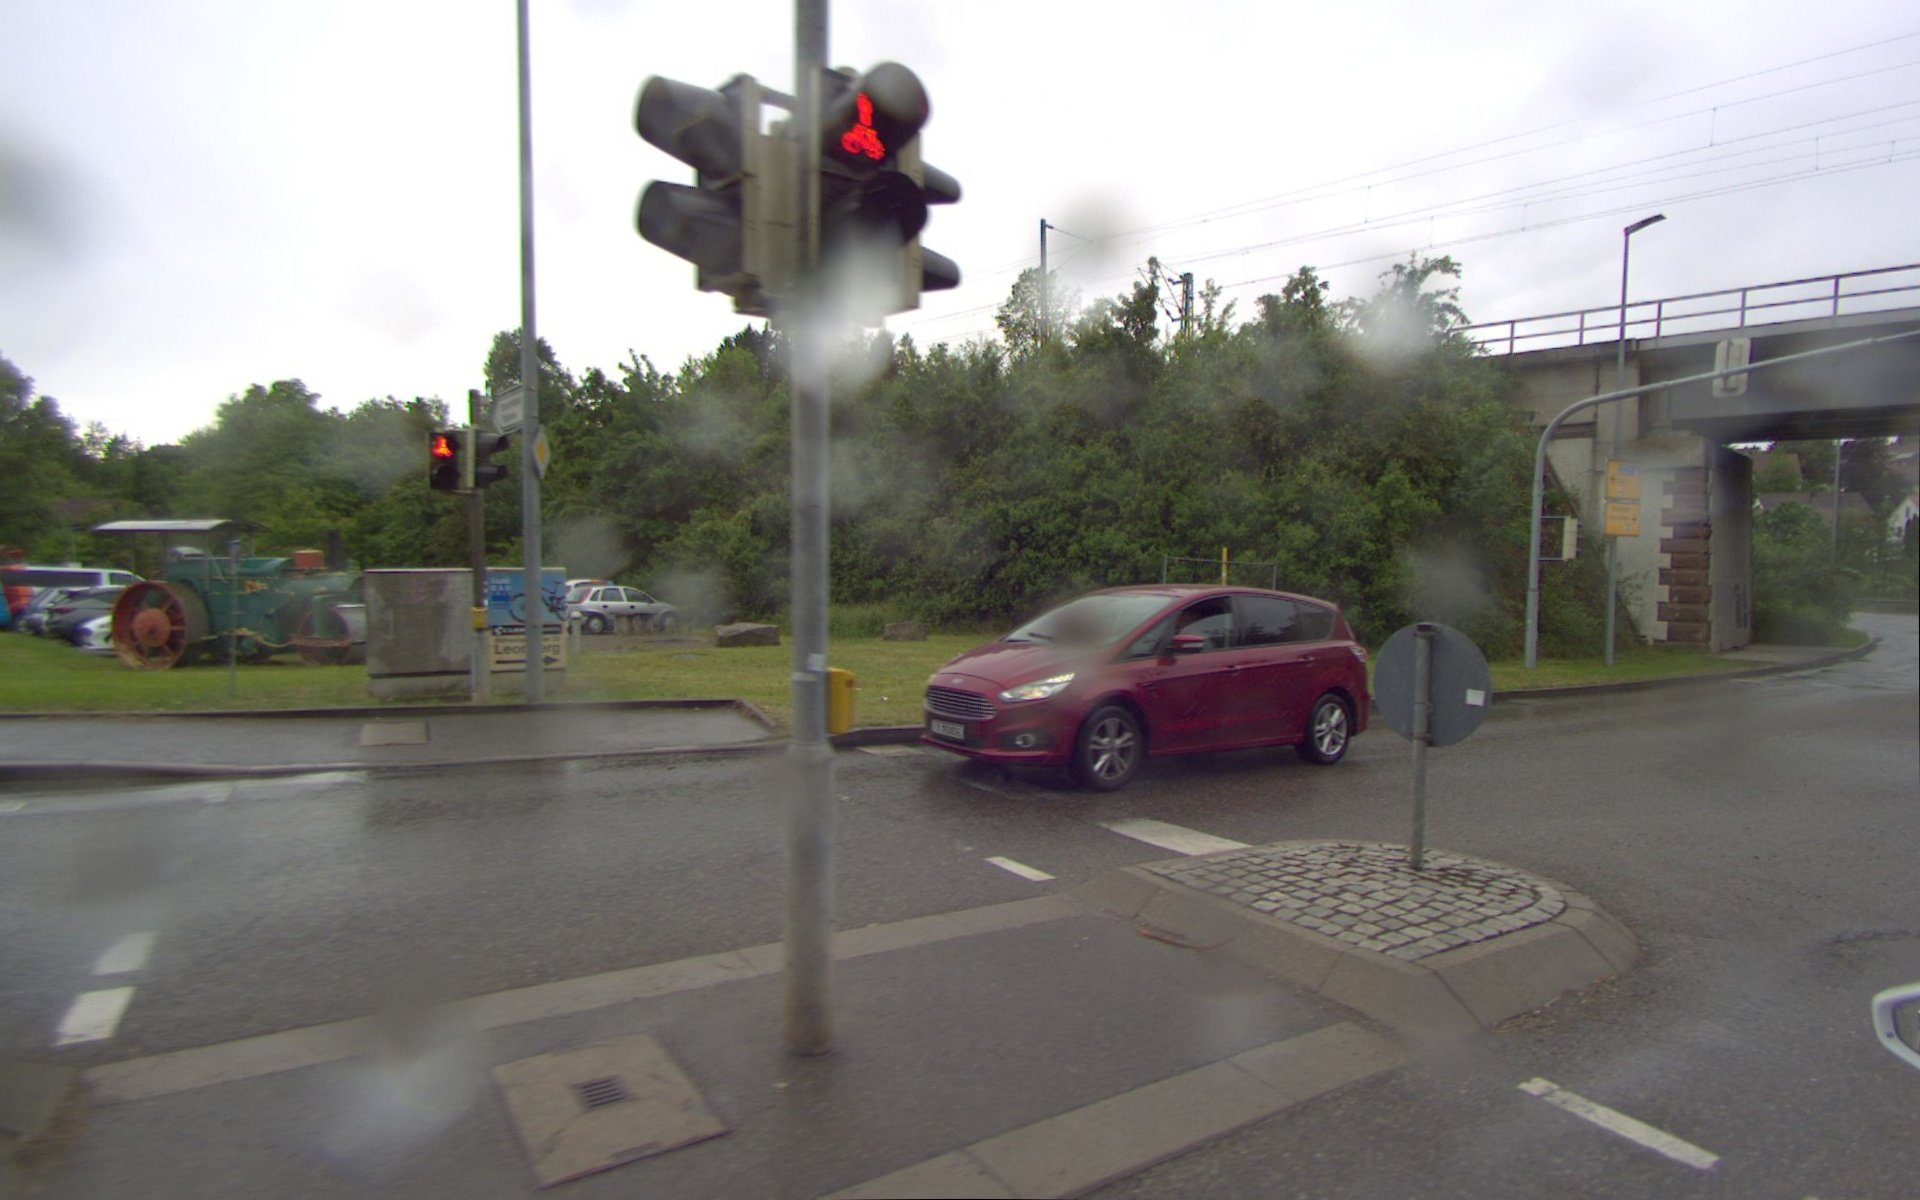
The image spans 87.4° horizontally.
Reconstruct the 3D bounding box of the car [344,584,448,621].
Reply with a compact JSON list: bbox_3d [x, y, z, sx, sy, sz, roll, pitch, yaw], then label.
[{"bbox_3d":[-23.155,0.116,41.309,1.426,1.418,3.463,2,0,40],"label":"car"}]

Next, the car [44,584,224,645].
[{"bbox_3d":[-22.432,0.405,27.362,1.570,1.531,3.607,2,0,43],"label":"car"}]

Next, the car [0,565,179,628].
[{"bbox_3d":[-26.459,-0.075,30.266,1.895,1.789,4.364,2,0,43],"label":"car"}]

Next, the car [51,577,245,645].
[{"bbox_3d":[-20.694,0.288,25.694,1.570,1.595,3.689,2,0,43],"label":"car"}]

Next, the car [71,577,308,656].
[{"bbox_3d":[-17.174,0.364,22.536,1.646,1.595,3.978,2,0,42],"label":"car"}]

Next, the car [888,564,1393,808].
[{"bbox_3d":[1.814,0.651,9.274,4.637,1.737,1.884,2,0,-36],"label":"car"}]

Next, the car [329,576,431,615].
[{"bbox_3d":[-24.702,-0.195,42.846,1.426,1.560,3.463,2,0,40],"label":"car"}]

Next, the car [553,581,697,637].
[{"bbox_3d":[-10.218,0.277,30.815,1.749,1.589,3.804,2,0,42],"label":"car"}]

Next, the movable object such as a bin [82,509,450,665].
[{"bbox_3d":[-12.951,-0.231,18.948,5.587,2.722,2.312,0,0,7],"label":"movable object such as a bin"}]

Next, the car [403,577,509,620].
[{"bbox_3d":[-19.391,-0.052,38.716,1.427,1.560,3.344,2,0,43],"label":"car"}]

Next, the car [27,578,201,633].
[{"bbox_3d":[-24.331,0.167,28.969,1.570,1.483,3.689,2,0,43],"label":"car"}]

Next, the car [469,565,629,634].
[{"bbox_3d":[-12.767,0.002,31.362,1.877,2.006,4.212,2,0,42],"label":"car"}]
